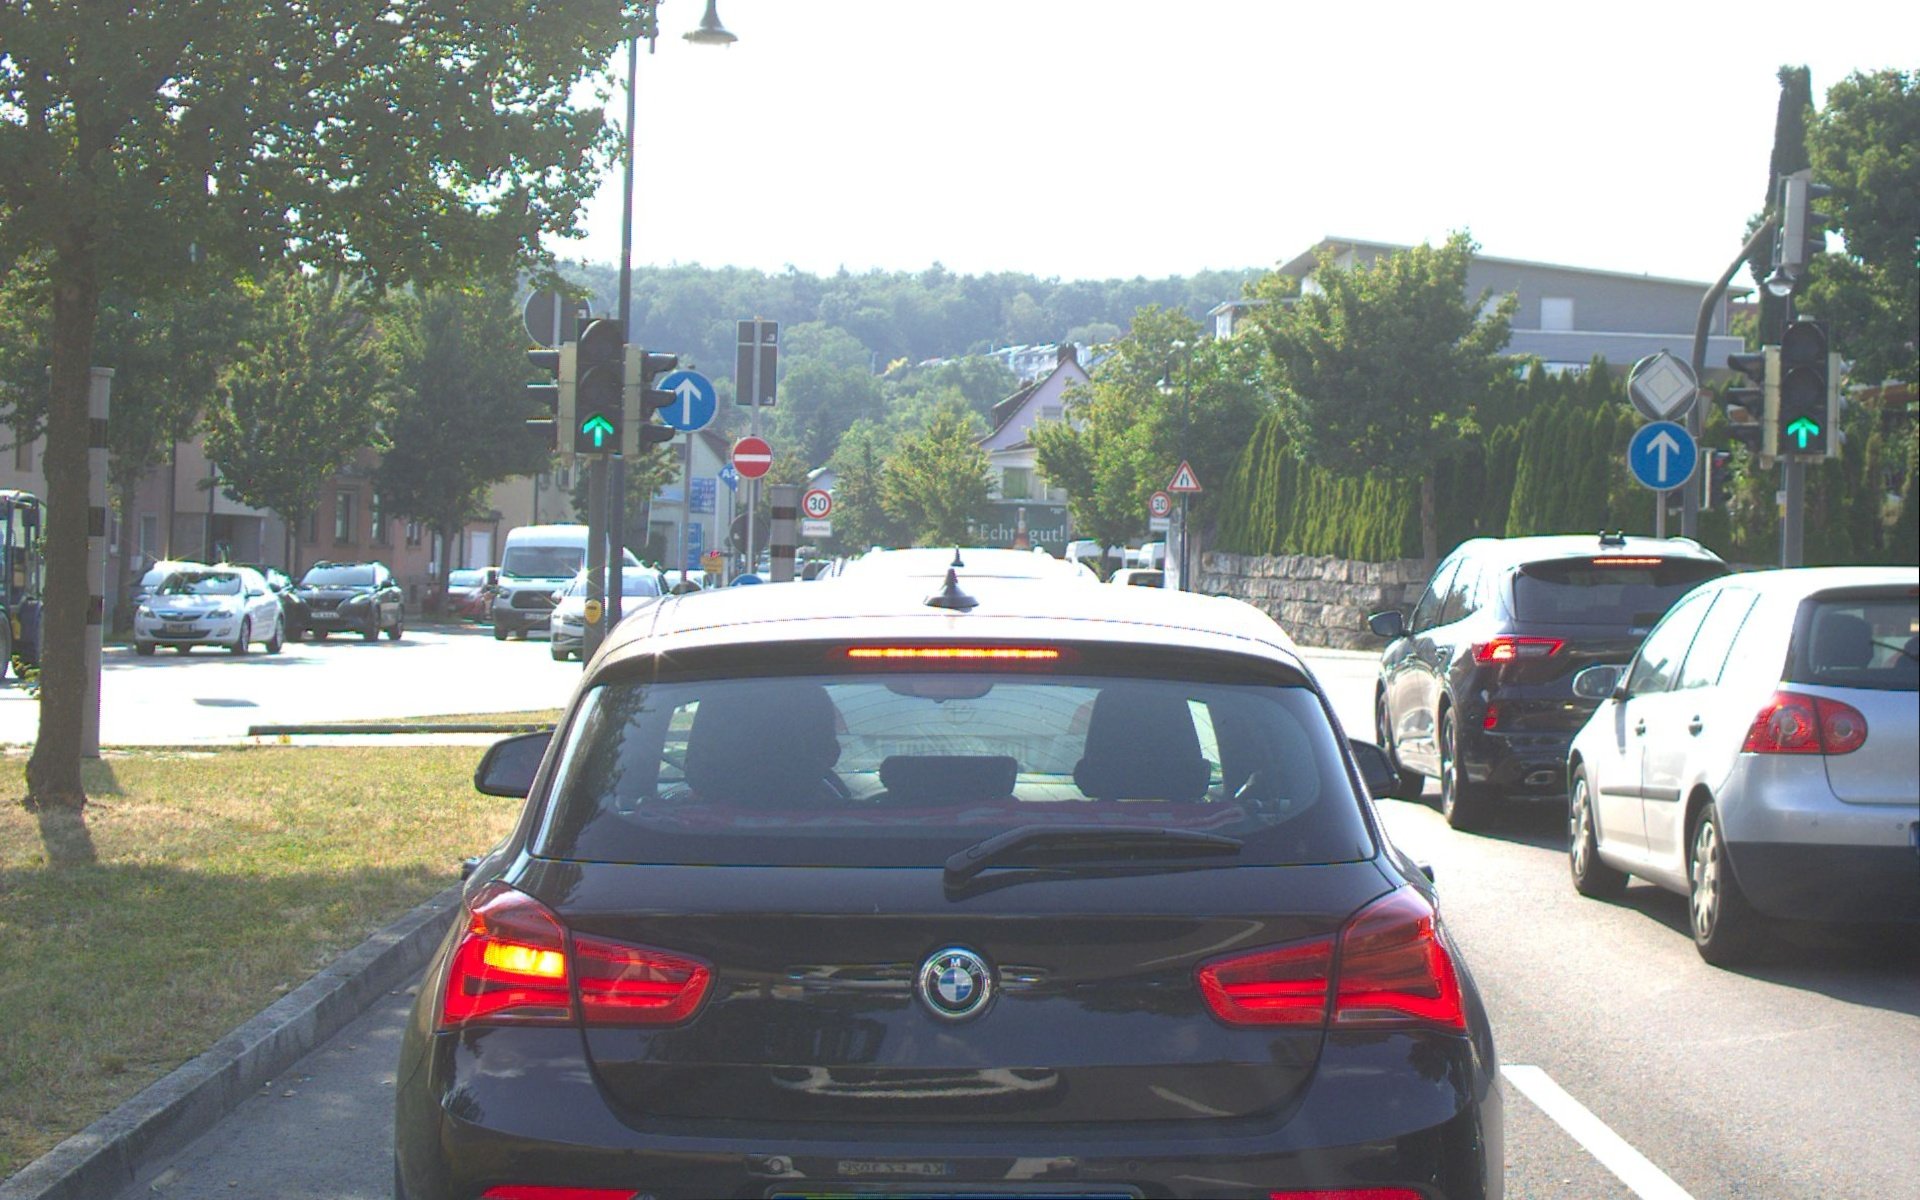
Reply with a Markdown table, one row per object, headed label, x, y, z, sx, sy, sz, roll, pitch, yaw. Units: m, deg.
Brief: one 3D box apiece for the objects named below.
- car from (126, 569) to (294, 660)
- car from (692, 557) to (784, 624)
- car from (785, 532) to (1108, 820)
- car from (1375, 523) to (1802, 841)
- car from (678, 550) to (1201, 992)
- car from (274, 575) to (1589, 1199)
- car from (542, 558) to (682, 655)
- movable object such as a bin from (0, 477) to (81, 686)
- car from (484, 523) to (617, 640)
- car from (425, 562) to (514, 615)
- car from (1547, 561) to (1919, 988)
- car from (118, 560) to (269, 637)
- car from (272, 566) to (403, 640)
| label | x | y | z | sx | sy | sz | roll | pitch | yaw |
| --- | --- | --- | --- | --- | --- | --- | --- | --- | --- |
| car | -12.475 | 0.216 | 57.399 | 1.737 | 1.296 | 3.799 | 5 | 1 | 2 |
| car | -5.080 | -0.239 | 78.921 | 1.839 | 1.477 | 4.000 | 1 | 1 | 0 |
| car | -0.073 | 0.390 | 21.365 | 1.788 | 1.588 | 4.281 | -1 | 1 | 0 |
| car | 3.536 | 0.399 | 20.008 | 1.761 | 1.650 | 3.903 | -1 | 1 | 0 |
| car | -0.067 | 0.559 | 13.989 | 1.788 | 1.488 | 4.281 | -1 | 1 | 0 |
| car | -0.032 | 0.679 | 6.843 | 1.788 | 1.393 | 4.281 | -1 | 1 | 0 |
| car | -5.583 | 0.081 | 55.499 | 1.839 | 1.477 | 4.000 | 1 | 1 | 0 |
| movable object such as a bin | -12.072 | -0.238 | 41.566 | 1.736 | 2.433 | 4.450 | 0 | 1 | 0 |
| car | -8.832 | -0.416 | 74.562 | 2.084 | 2.385 | 5.528 | 1 | 1 | 1 |
| car | -13.843 | -0.335 | 97.151 | 1.737 | 1.296 | 3.799 | 5 | 1 | 2 |
| car | 3.562 | 0.577 | 13.726 | 1.761 | 1.421 | 3.903 | -1 | 1 | 0 |
| car | -14.926 | -0.053 | 67.139 | 1.737 | 1.296 | 4.000 | 5 | 1 | 3 |
| car | -12.653 | 0.037 | 70.097 | 1.737 | 1.296 | 3.799 | 5 | 1 | 2 |
